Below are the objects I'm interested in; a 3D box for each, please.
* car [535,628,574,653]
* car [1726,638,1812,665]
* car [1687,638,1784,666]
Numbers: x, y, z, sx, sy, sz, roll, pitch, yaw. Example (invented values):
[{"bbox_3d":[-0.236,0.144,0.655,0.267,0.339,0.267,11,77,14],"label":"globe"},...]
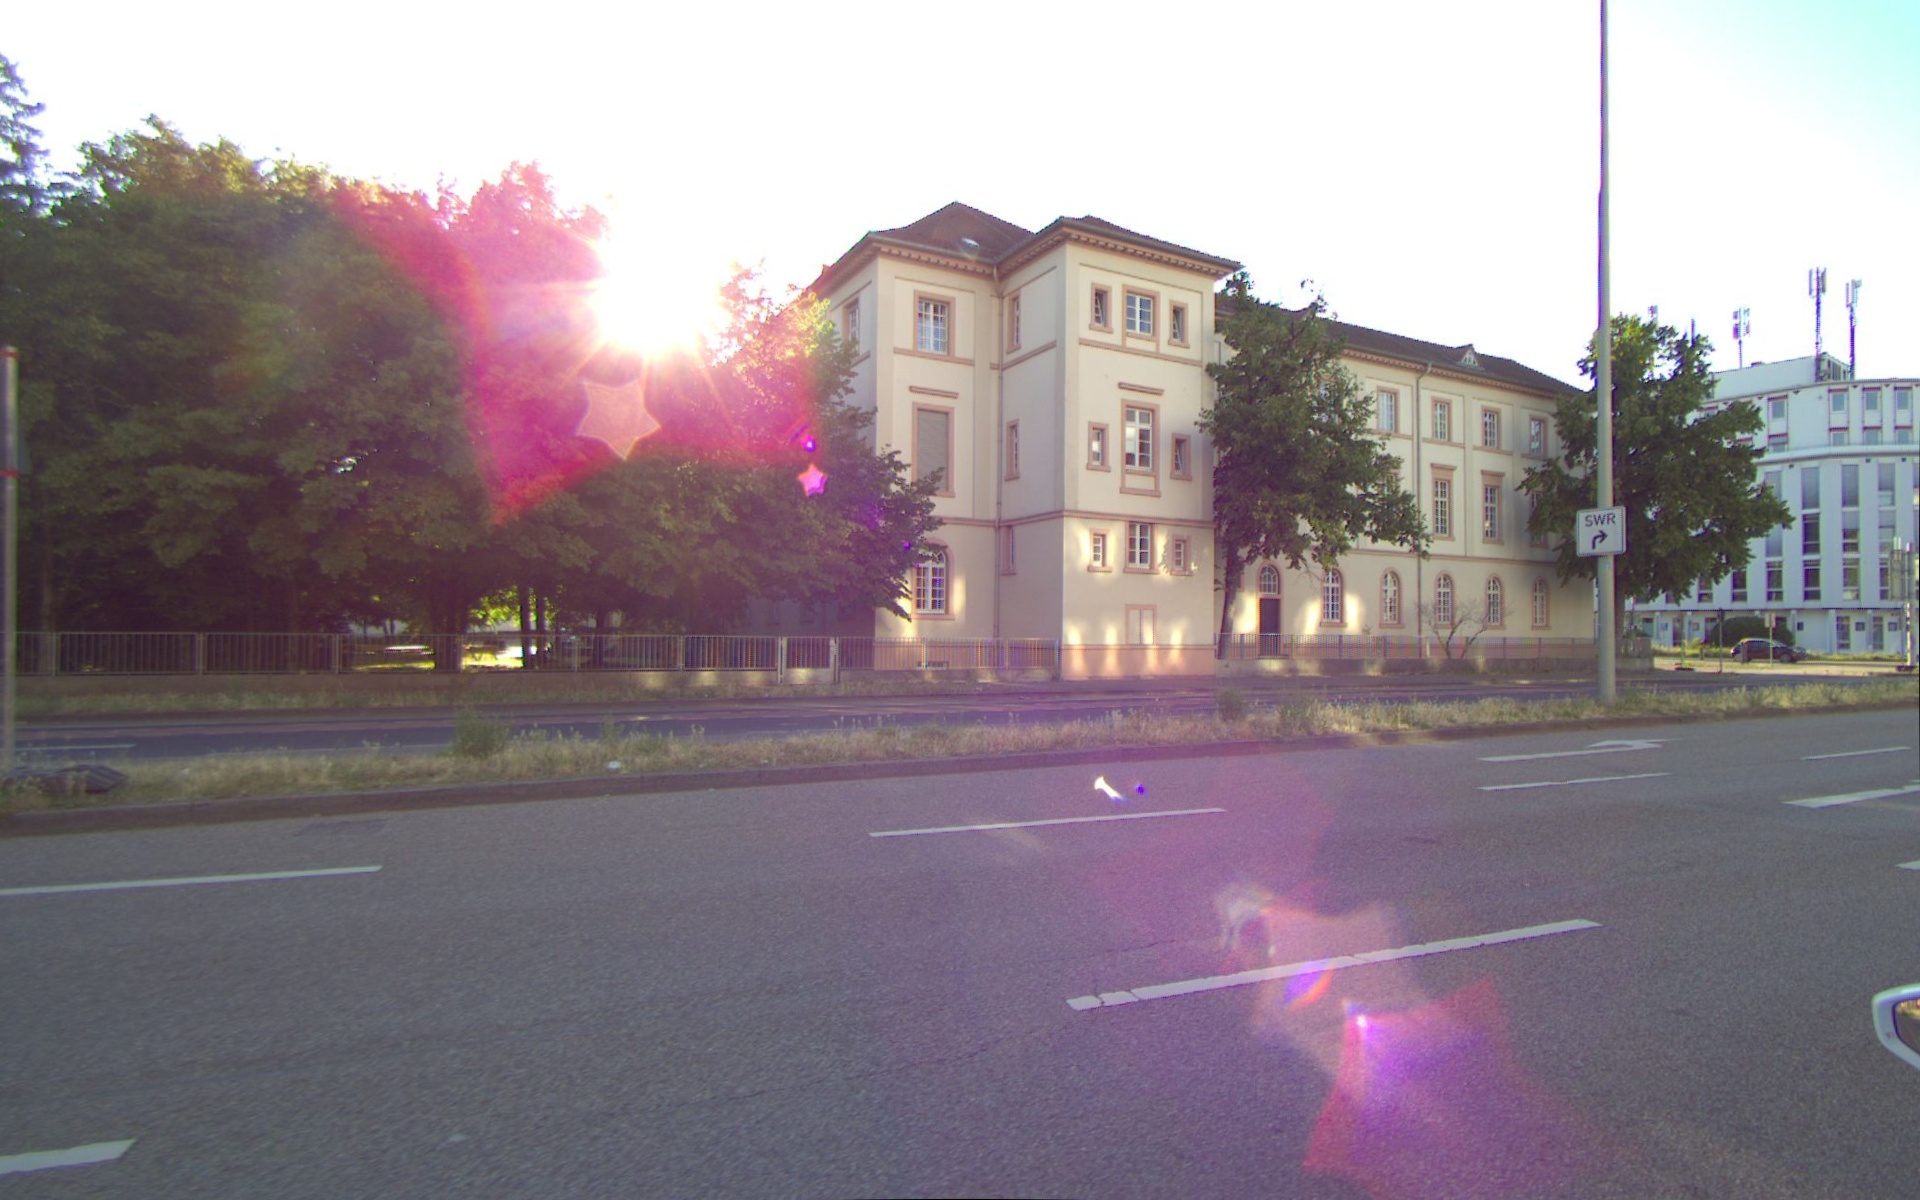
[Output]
[{"bbox_3d":[-26.150,2.589,64.772,1.975,1.541,3.661,1,-2,-28],"label":"car"},{"bbox_3d":[50.283,3.212,62.468,1.843,1.549,3.788,4,-5,-32],"label":"car"},{"bbox_3d":[47.650,3.159,61.813,1.973,1.650,4.333,1,-2,-25],"label":"car"}]
